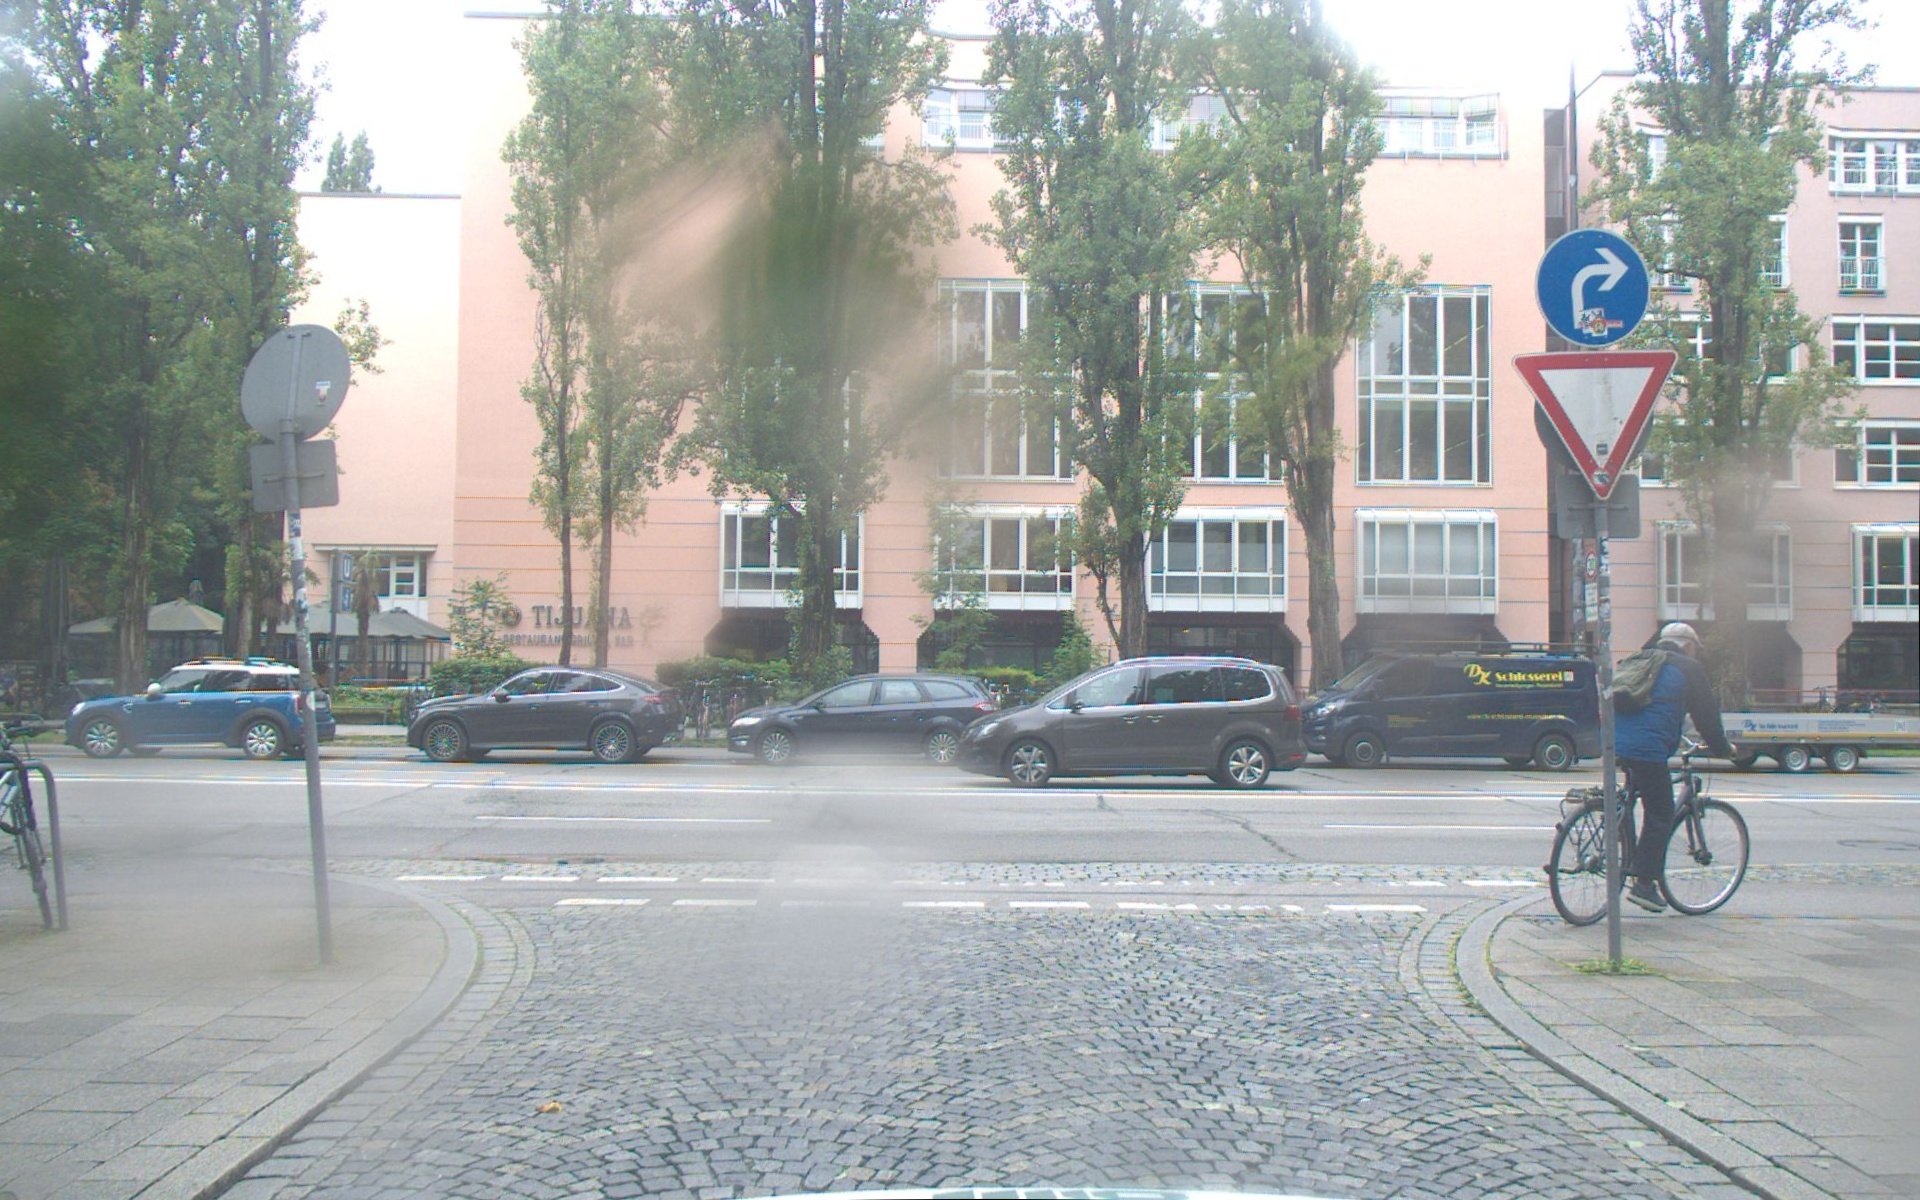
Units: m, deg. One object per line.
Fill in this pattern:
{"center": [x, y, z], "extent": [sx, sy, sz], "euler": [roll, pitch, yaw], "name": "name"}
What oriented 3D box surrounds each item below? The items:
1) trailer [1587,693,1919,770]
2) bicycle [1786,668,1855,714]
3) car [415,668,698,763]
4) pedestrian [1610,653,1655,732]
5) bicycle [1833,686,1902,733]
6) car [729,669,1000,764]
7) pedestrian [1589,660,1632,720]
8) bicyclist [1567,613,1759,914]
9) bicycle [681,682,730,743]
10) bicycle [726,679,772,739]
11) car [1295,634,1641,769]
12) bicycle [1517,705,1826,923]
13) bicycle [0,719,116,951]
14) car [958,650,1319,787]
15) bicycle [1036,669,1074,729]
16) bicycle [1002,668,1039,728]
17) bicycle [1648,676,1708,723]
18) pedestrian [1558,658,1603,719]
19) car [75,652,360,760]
{"center": [14.336, 2.266, 28.844], "extent": [5.895, 1.220, 2.404], "euler": [0, -2, 0], "name": "trailer"}
{"center": [22.075, 2.331, 42.466], "extent": [0.660, 1.144, 2.106], "euler": [0, -2, 0], "name": "bicycle"}
{"center": [-6.866, 1.963, 28.475], "extent": [4.408, 1.556, 1.793], "euler": [0, -2, -1], "name": "car"}
{"center": [15.076, 2.074, 37.091], "extent": [0.714, 1.744, 0.709], "euler": [0, -3, 0], "name": "pedestrian"}
{"center": [23.185, 2.797, 42.293], "extent": [0.660, 1.144, 1.988], "euler": [0, -2, 0], "name": "bicycle"}
{"center": [-1.594, 1.986, 28.533], "extent": [4.514, 1.556, 1.793], "euler": [0, -2, -1], "name": "car"}
{"center": [15.292, 2.108, 38.888], "extent": [0.714, 1.393, 0.709], "euler": [0, -2, 0], "name": "pedestrian"}
{"center": [4.070, 0.913, 9.591], "extent": [0.746, 1.648, 0.717], "euler": [2, -3, -30], "name": "bicyclist"}
{"center": [-5.031, 2.218, 32.767], "extent": [0.660, 1.144, 1.988], "euler": [0, -2, 0], "name": "bicycle"}
{"center": [-4.192, 2.154, 32.922], "extent": [0.660, 1.144, 1.988], "euler": [0, -2, 0], "name": "bicycle"}
{"center": [8.710, 1.742, 28.696], "extent": [5.367, 2.236, 2.023], "euler": [0, -2, -1], "name": "car"}
{"center": [4.196, 1.243, 9.729], "extent": [1.875, 1.168, 0.711], "euler": [5, -6, -31], "name": "bicycle"}
{"center": [-4.981, 1.184, 8.313], "extent": [0.480, 1.112, 1.703], "euler": [0, -2, 4], "name": "bicycle"}
{"center": [2.335, 1.603, 22.587], "extent": [4.701, 1.752, 1.999], "euler": [0, -3, 0], "name": "car"}
{"center": [1.867, 1.939, 32.753], "extent": [0.660, 1.144, 1.741], "euler": [0, -2, 0], "name": "bicycle"}
{"center": [1.186, 1.930, 32.772], "extent": [0.660, 1.144, 1.741], "euler": [0, -2, 0], "name": "bicycle"}
{"center": [18.457, 2.548, 42.535], "extent": [0.660, 1.144, 1.988], "euler": [0, -2, 0], "name": "bicycle"}
{"center": [14.520, 2.062, 38.703], "extent": [0.699, 1.393, 0.724], "euler": [2, -3, -30], "name": "pedestrian"}
{"center": [-12.600, 1.813, 28.258], "extent": [3.983, 1.762, 1.792], "euler": [0, -4, -2], "name": "car"}
